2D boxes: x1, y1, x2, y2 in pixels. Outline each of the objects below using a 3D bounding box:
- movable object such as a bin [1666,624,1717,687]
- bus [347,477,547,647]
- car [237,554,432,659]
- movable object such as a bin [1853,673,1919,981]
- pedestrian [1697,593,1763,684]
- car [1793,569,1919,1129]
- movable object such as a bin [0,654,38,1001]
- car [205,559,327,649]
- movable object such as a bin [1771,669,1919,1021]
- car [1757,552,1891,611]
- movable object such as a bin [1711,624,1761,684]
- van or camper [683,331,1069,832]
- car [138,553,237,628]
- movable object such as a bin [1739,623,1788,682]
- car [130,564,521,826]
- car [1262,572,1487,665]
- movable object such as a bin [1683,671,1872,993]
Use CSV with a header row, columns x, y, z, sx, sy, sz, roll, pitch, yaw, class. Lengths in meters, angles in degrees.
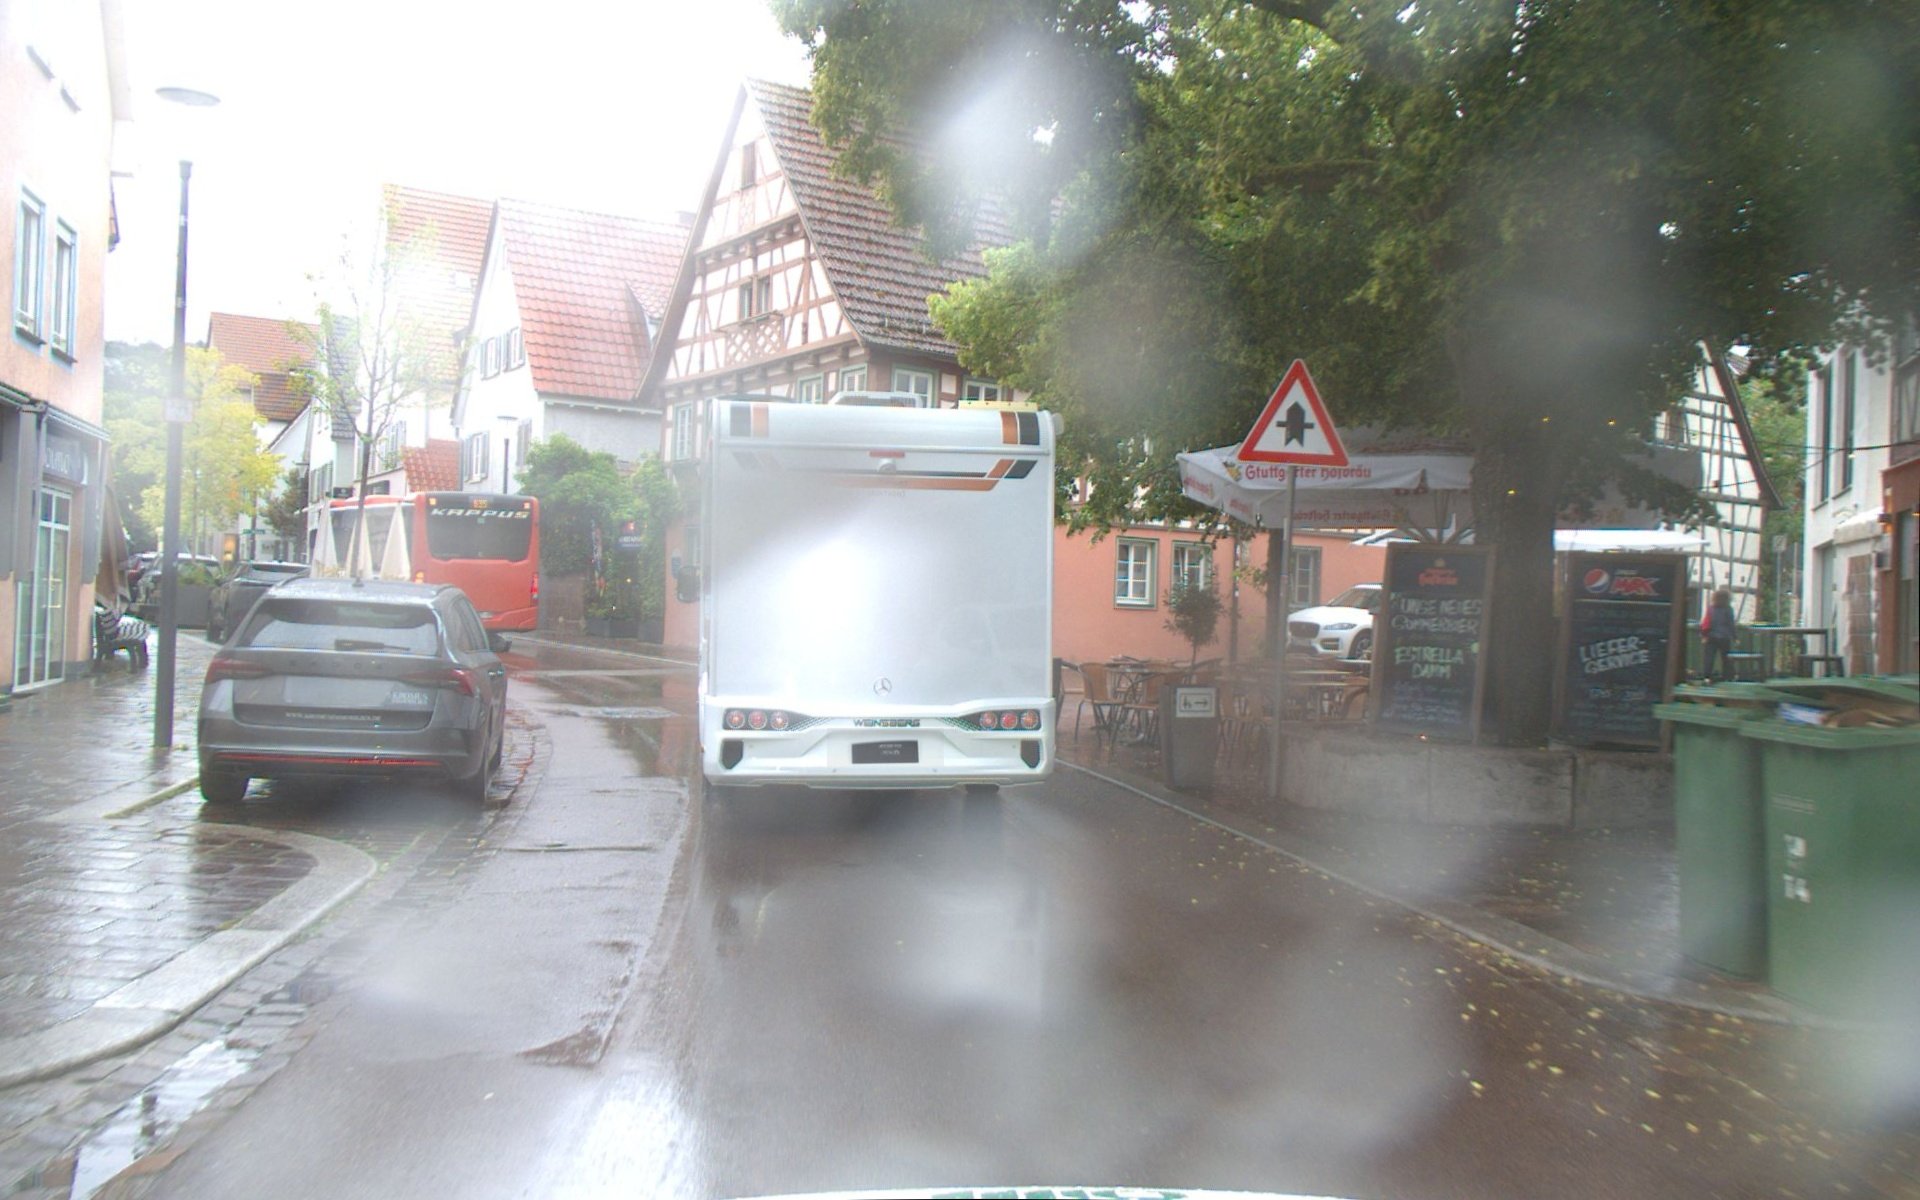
x,y,z,sx,sy,sz,roll,pitch,yaw,class
13.337,1.006,30.155,0.648,1.113,0.599,1,-1,-33,movable object such as a bin
-11.128,-0.723,35.458,2.614,3.283,6.533,1,-1,-31,bus
-10.399,0.065,27.284,1.787,1.457,4.568,4,0,-36,car
3.956,0.886,6.514,0.534,1.169,0.585,1,-1,-6,movable object such as a bin
13.363,0.661,28.704,0.834,1.544,0.750,2,-1,-41,pedestrian
3.475,0.698,3.157,1.655,1.566,4.404,1,0,2,car
-3.451,0.744,5.291,0.646,1.128,0.623,1,-1,-5,movable object such as a bin
-13.118,0.075,31.147,1.576,1.573,3.935,1,-1,-31,car
3.272,0.843,5.865,0.523,1.169,0.500,1,-1,-6,movable object such as a bin
24.558,-0.498,46.960,3.960,1.557,1.972,1,-1,-39,car
14.634,1.010,31.191,0.648,1.113,0.599,1,-1,-33,movable object such as a bin
-0.915,-0.074,13.137,2.282,2.970,6.381,1,0,-8,van or camper
-19.234,-0.226,41.092,1.753,1.704,4.433,3,-1,-31,car
15.330,0.997,31.553,0.648,1.113,0.599,1,-1,-33,movable object such as a bin
-4.208,0.560,11.701,1.959,1.480,4.359,1,0,-13,car
8.360,0.371,33.251,4.414,1.659,1.922,1,3,-35,car
3.186,0.885,6.474,0.467,1.189,0.488,1,-1,-6,movable object such as a bin
